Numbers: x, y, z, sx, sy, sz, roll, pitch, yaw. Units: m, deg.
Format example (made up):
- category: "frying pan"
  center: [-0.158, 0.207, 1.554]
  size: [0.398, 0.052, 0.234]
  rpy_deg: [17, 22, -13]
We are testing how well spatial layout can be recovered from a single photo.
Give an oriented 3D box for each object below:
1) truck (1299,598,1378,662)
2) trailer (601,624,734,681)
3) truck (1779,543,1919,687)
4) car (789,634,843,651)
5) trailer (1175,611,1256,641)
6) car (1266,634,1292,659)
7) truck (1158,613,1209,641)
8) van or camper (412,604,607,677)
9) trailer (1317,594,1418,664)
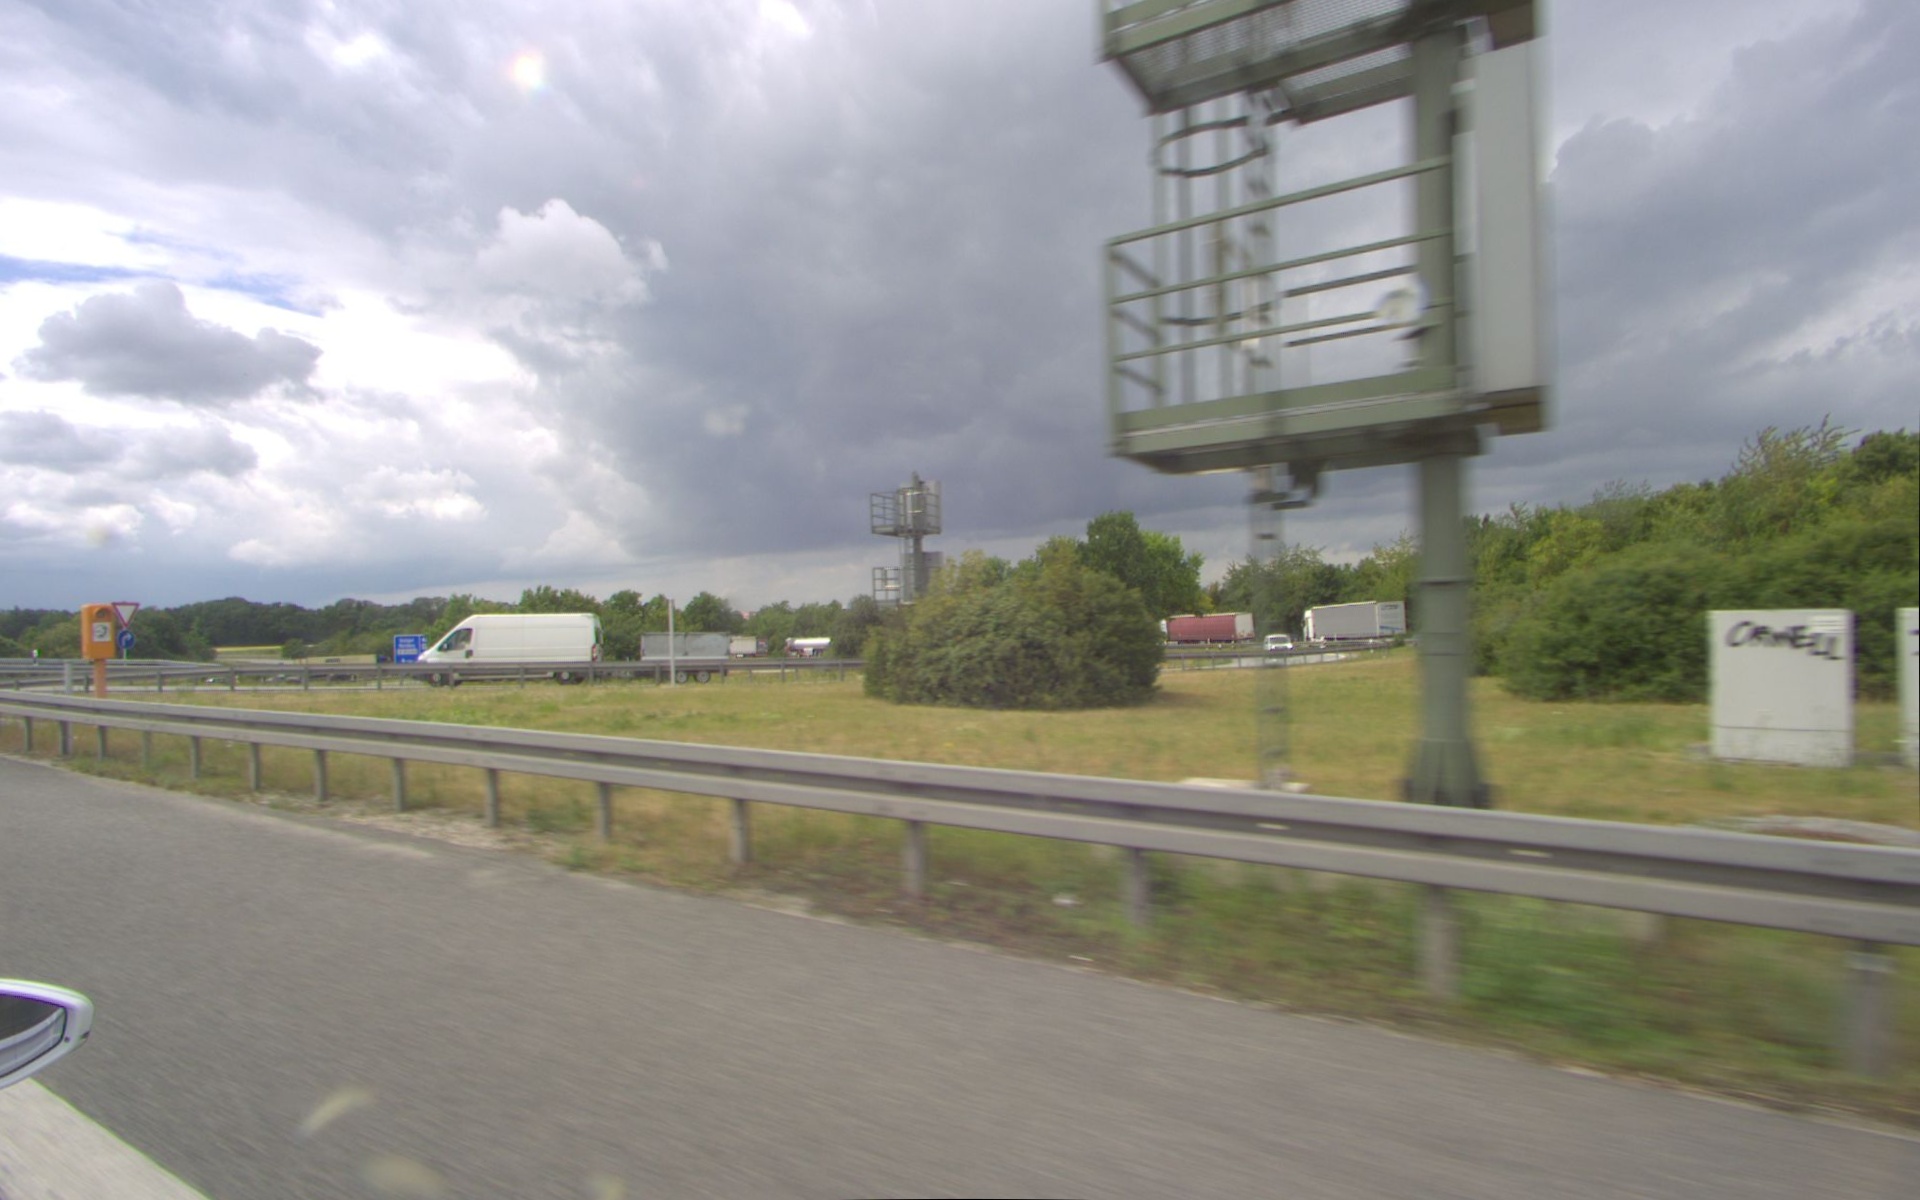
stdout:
- category: "truck"
  center: [37.721, 3.045, 100.301]
  size: [3.990, 6.150, 8.981]
  rpy_deg: [0, -2, -4]
- category: "trailer"
  center: [-10.409, 1.856, 35.871]
  size: [4.425, 1.865, 1.998]
  rpy_deg: [-1, -1, -15]
- category: "truck"
  center: [32.965, 0.549, 34.080]
  size: [3.219, 4.674, 8.995]
  rpy_deg: [0, -2, 4]
- category: "car"
  center: [-26.188, 7.673, 181.627]
  size: [11.640, 3.118, 3.423]
  rpy_deg: [-2, -3, 44]
- category: "trailer"
  center: [30.903, 3.229, 121.791]
  size: [3.083, 3.492, 11.654]
  rpy_deg: [1, -2, -23]
- category: "car"
  center: [24.023, 3.547, 75.428]
  size: [1.768, 1.771, 3.997]
  rpy_deg: [-2, -4, 18]
- category: "truck"
  center: [28.409, 3.473, 127.499]
  size: [3.071, 3.543, 6.584]
  rpy_deg: [1, -2, -24]
- category: "van or camper"
  center: [-15.355, 1.391, 34.532]
  size: [5.832, 2.391, 2.229]
  rpy_deg: [0, -2, -15]
- category: "trailer"
  center: [38.043, 2.776, 94.158]
  size: [3.940, 6.165, 12.100]
  rpy_deg: [0, -2, -3]
